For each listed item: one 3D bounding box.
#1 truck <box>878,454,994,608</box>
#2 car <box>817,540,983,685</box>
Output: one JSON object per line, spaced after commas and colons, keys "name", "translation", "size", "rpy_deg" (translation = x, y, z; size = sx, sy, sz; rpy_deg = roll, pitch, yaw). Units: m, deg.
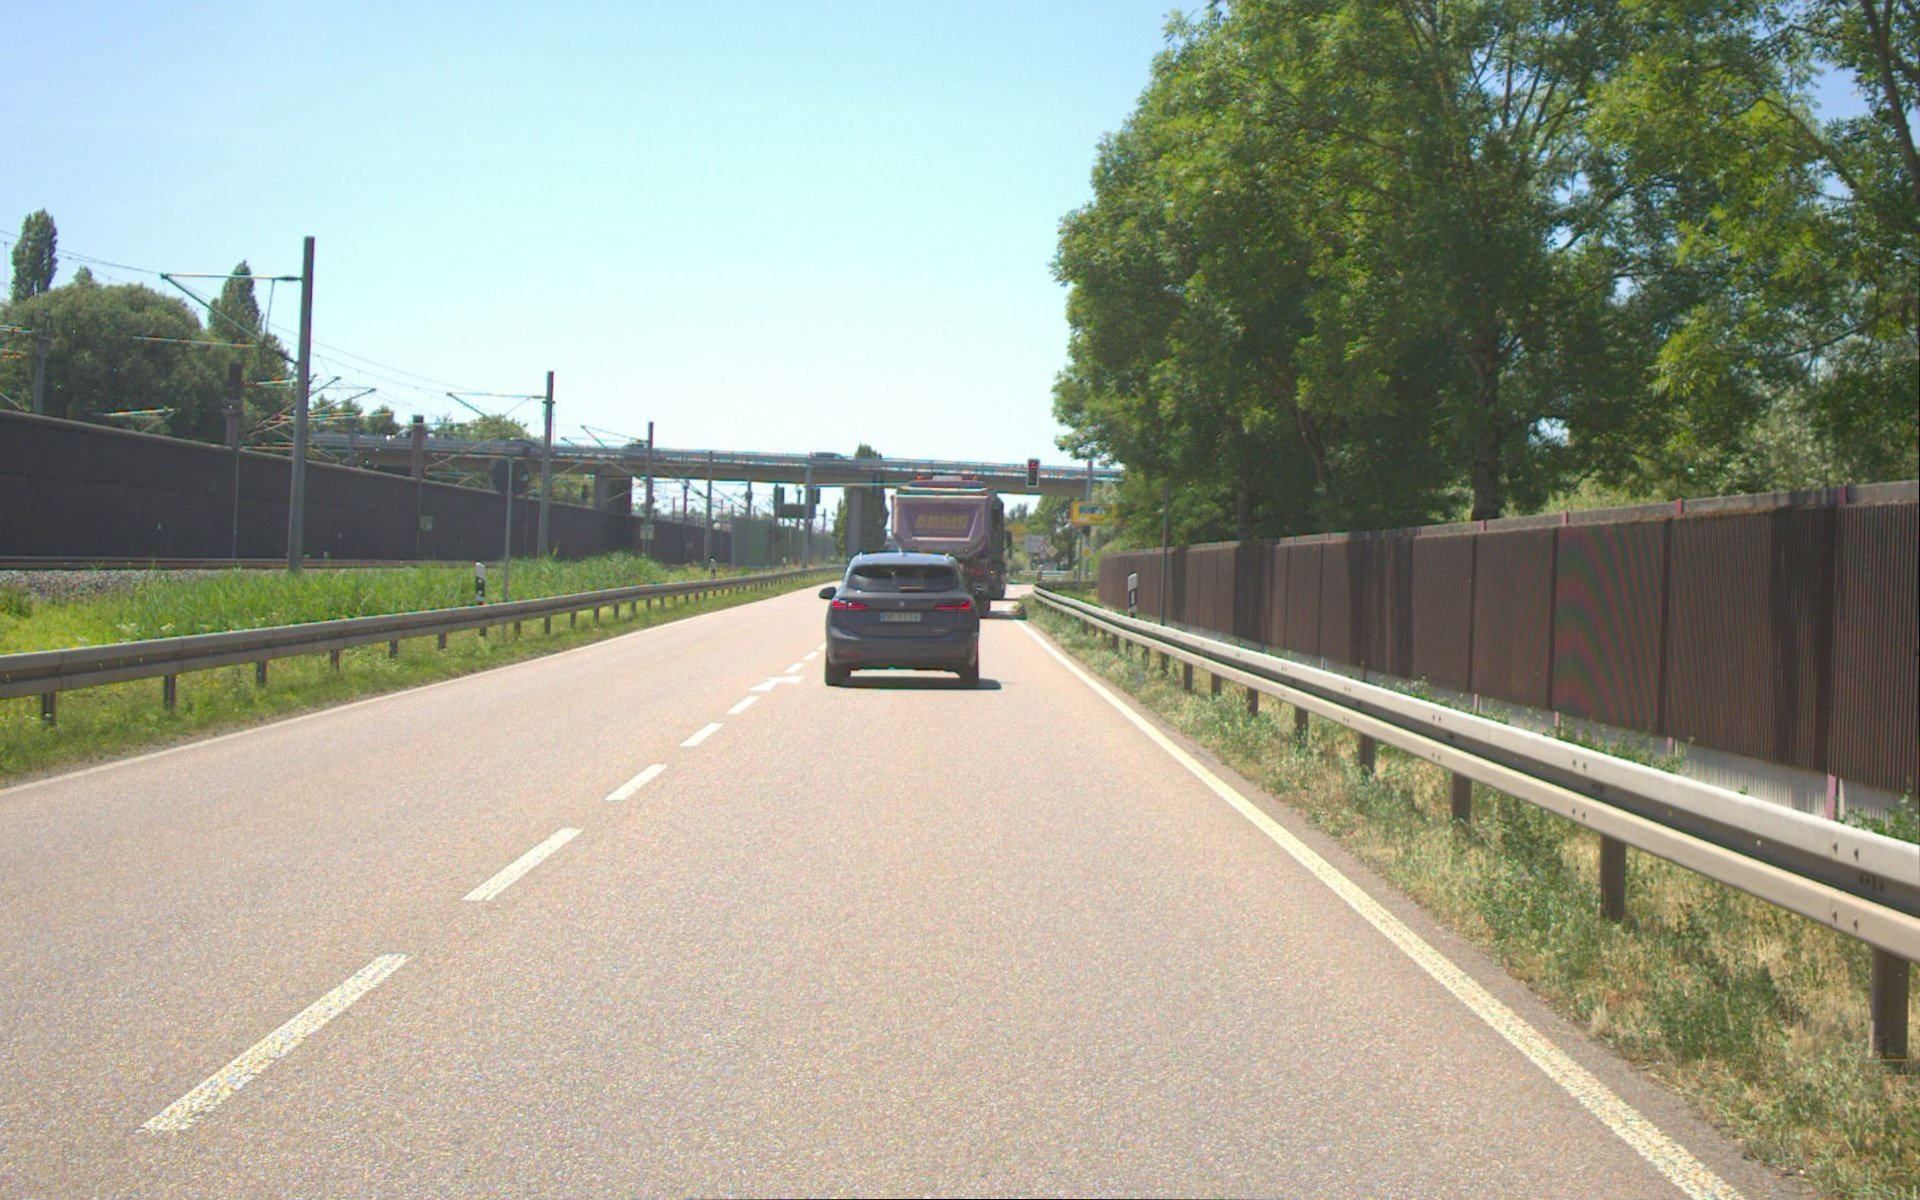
{"name": "truck", "translation": [-0.624, -1.808, 92.633], "size": [2.833, 3.808, 11.885], "rpy_deg": [1, 1, 0]}
{"name": "car", "translation": [-0.669, 0.122, 41.366], "size": [1.845, 1.617, 4.226], "rpy_deg": [1, 1, 1]}
